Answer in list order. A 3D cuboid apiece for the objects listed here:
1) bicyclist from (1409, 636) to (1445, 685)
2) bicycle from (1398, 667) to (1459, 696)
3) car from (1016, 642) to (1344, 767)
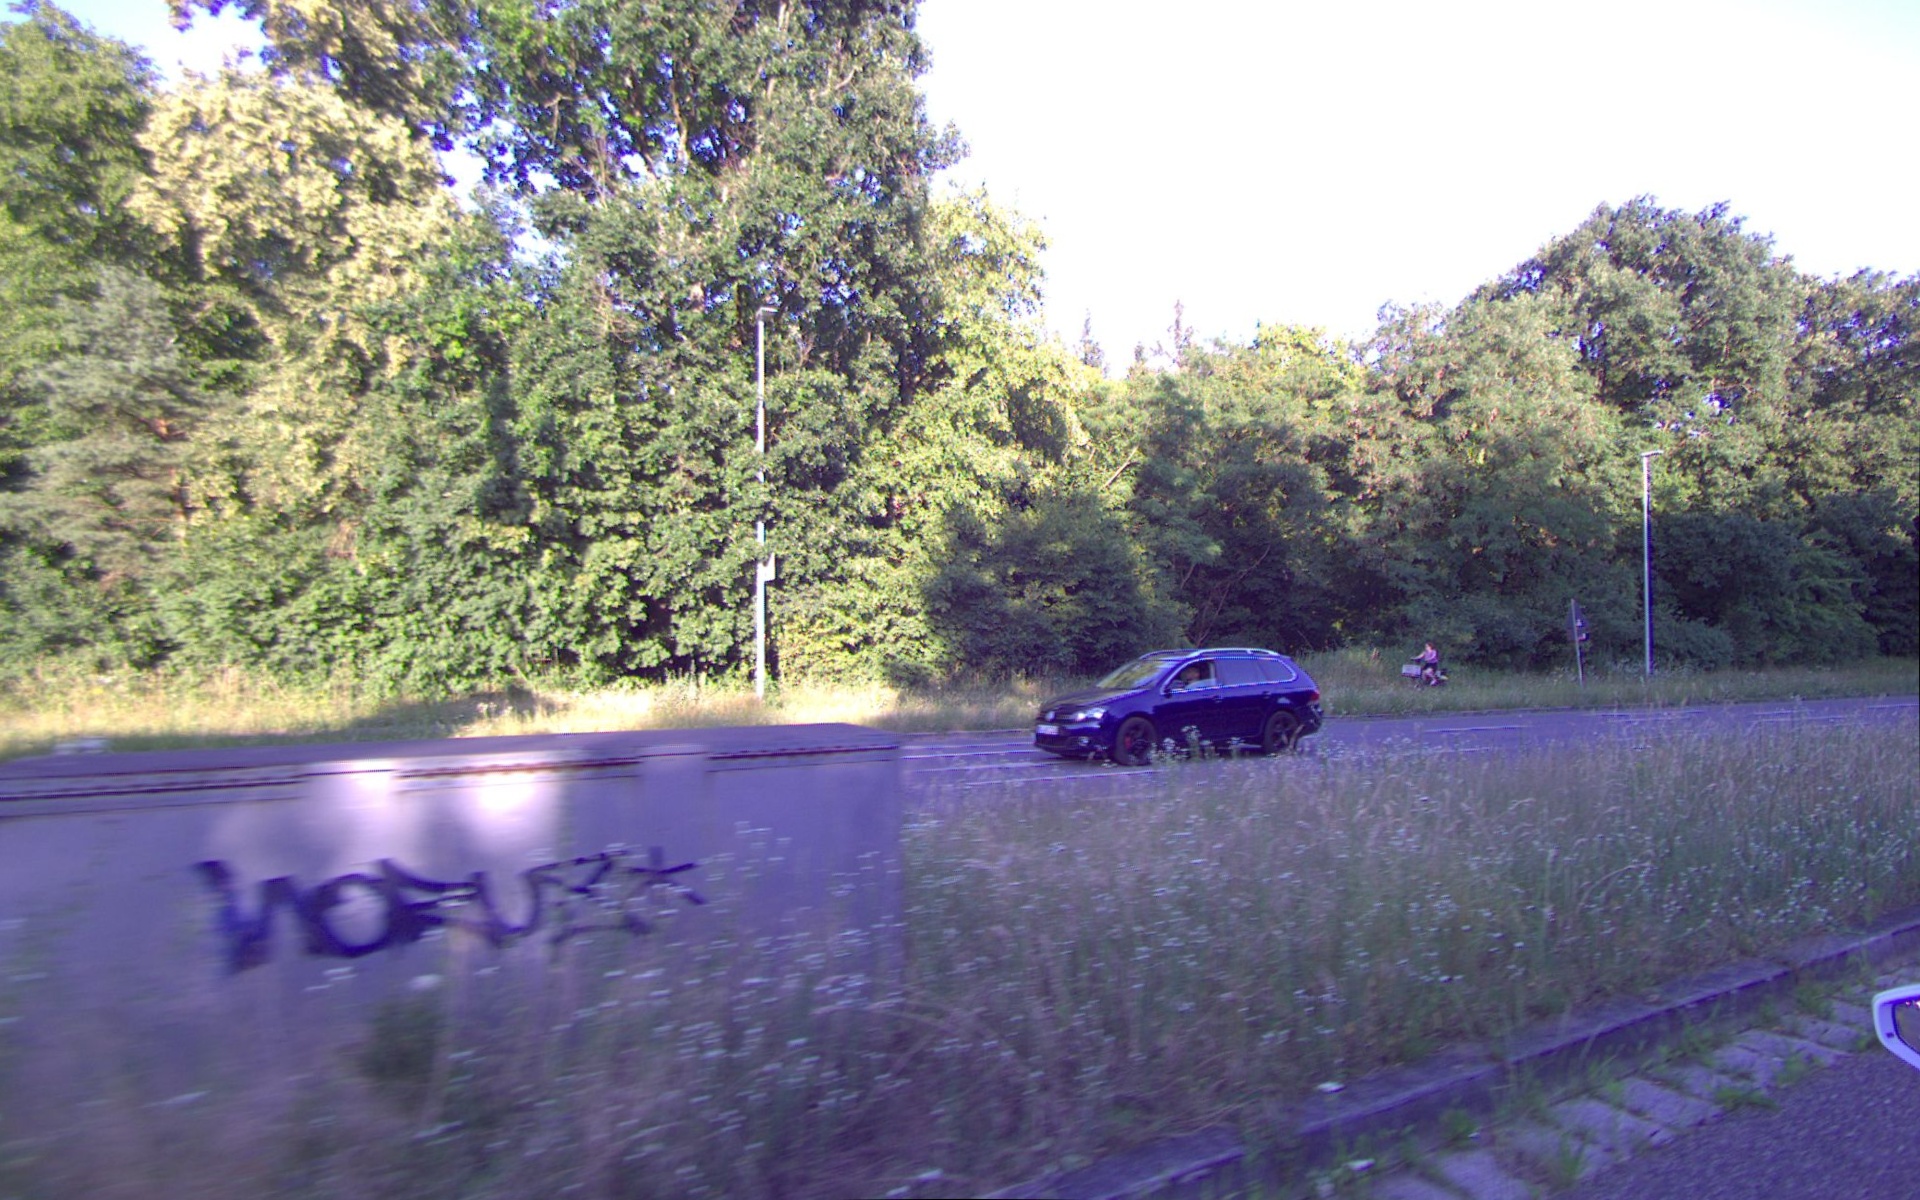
[{"bbox_3d":[13.896,1.796,29.876,0.812,1.448,0.583,1,-2,-28],"label":"bicyclist"},{"bbox_3d":[14.003,2.428,30.002,1.934,0.815,0.583,1,-3,-28],"label":"bicycle"},{"bbox_3d":[3.150,1.407,14.325,4.396,1.553,1.814,1,-4,-26],"label":"car"}]
